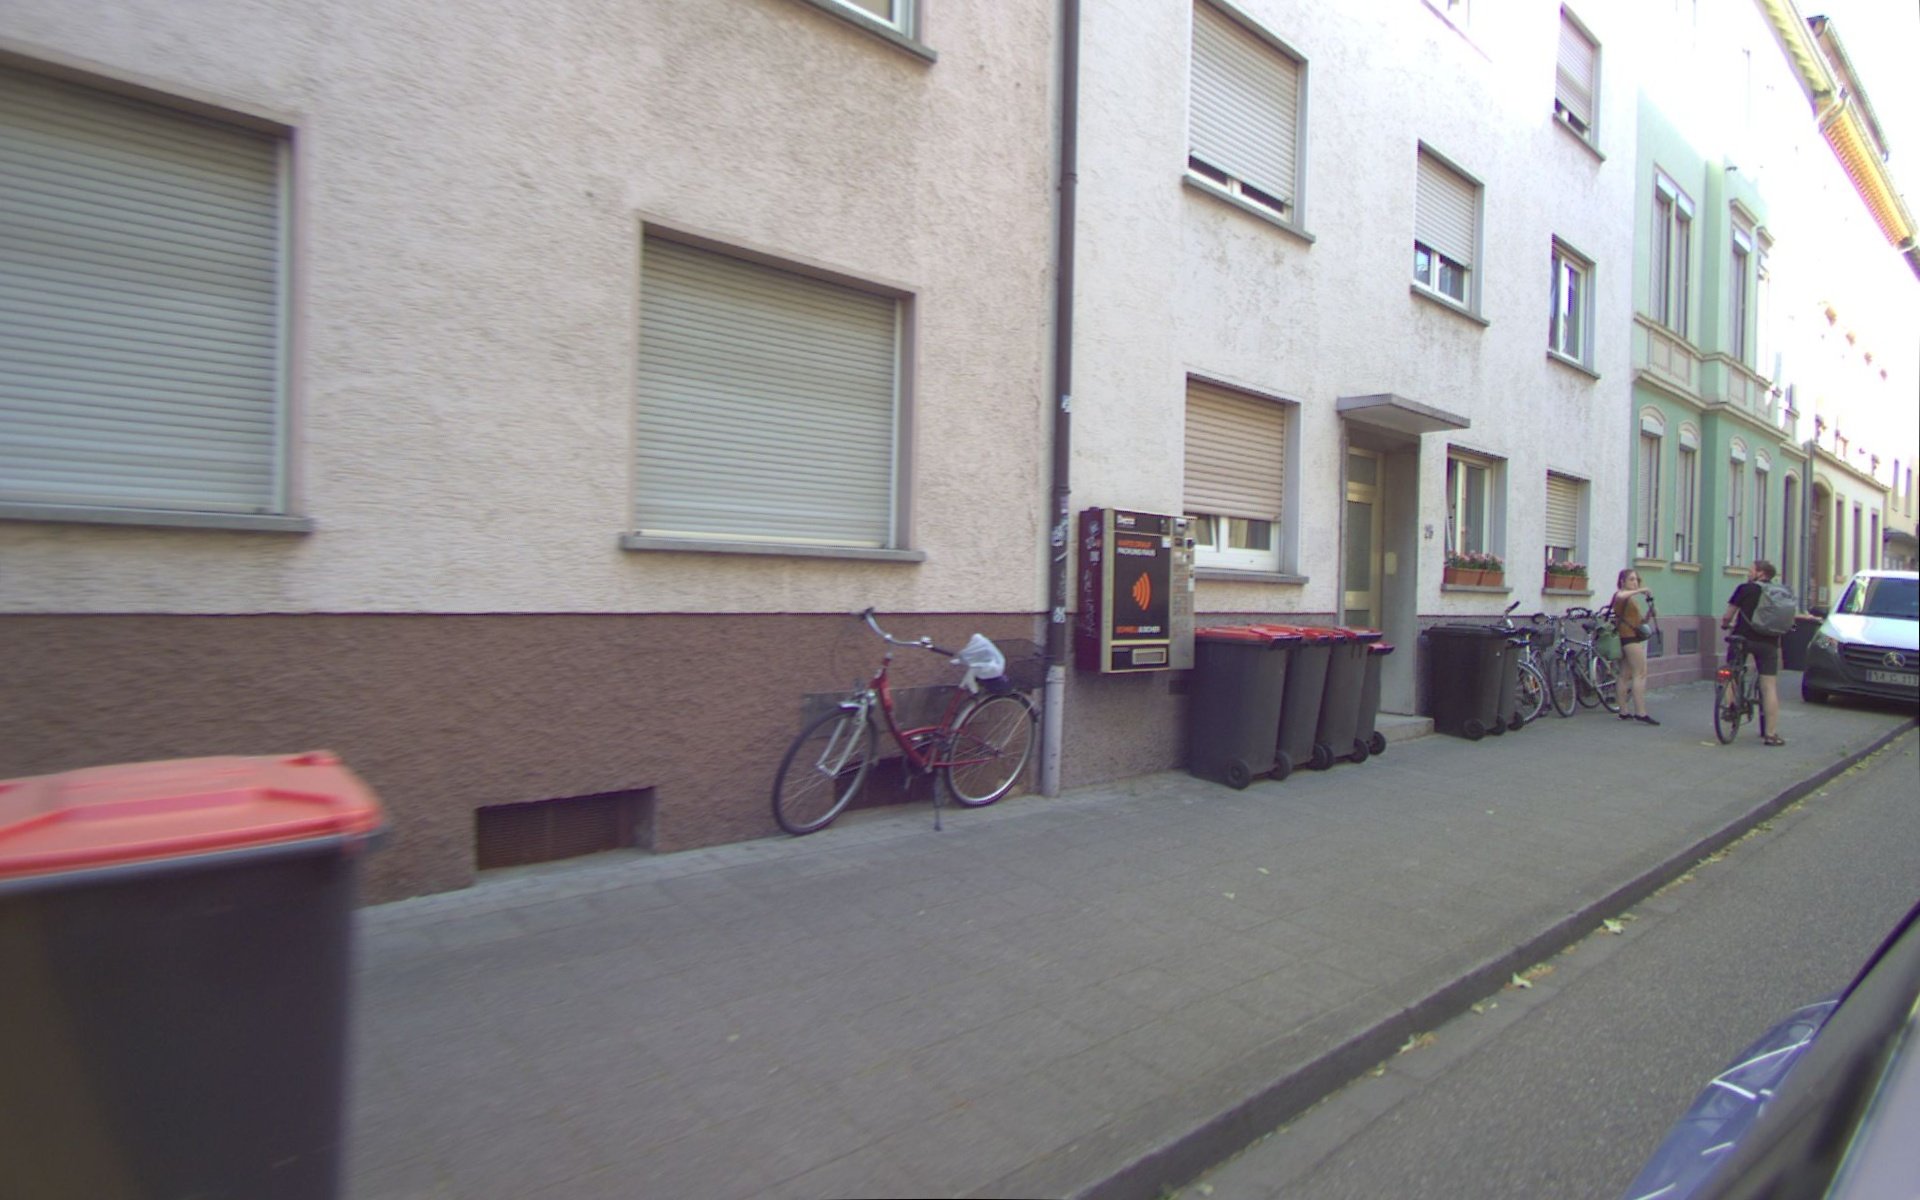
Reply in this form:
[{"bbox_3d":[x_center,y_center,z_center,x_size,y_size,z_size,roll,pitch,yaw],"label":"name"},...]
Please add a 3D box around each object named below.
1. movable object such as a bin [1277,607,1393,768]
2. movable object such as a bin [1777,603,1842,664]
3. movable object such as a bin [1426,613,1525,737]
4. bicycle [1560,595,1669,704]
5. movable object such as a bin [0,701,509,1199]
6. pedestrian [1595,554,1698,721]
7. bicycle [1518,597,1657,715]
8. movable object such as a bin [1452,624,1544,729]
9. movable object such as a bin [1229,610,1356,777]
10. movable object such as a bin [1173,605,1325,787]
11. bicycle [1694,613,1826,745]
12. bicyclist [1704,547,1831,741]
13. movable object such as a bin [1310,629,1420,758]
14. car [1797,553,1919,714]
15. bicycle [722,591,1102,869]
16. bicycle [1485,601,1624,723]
[{"bbox_3d":[2.875,0.641,7.769,0.559,1.136,0.629,0,2,-39],"label":"movable object such as a bin"},{"bbox_3d":[16.167,0.624,19.268,0.661,1.102,0.815,0,2,-38],"label":"movable object such as a bin"},{"bbox_3d":[4.882,0.685,9.593,0.592,1.075,0.617,0,3,-41],"label":"movable object such as a bin"},{"bbox_3d":[8.046,0.567,12.399,2.120,1.221,0.406,-1,2,-38],"label":"bicycle"},{"bbox_3d":[-1.193,0.774,1.627,0.691,1.094,0.734,-1,2,-39],"label":"movable object such as a bin"},{"bbox_3d":[7.426,0.376,10.959,0.672,1.732,0.658,0,1,-28],"label":"pedestrian"},{"bbox_3d":[7.130,0.588,11.448,2.222,1.221,0.439,-1,2,-34],"label":"bicycle"},{"bbox_3d":[5.318,0.733,10.004,0.597,0.935,0.578,0,4,-40],"label":"movable object such as a bin"},{"bbox_3d":[2.427,0.646,7.400,0.582,1.119,0.658,0,1,-39],"label":"movable object such as a bin"},{"bbox_3d":[1.994,0.625,7.006,0.628,1.110,0.741,0,4,-39],"label":"movable object such as a bin"},{"bbox_3d":[8.011,0.734,10.099,1.954,1.150,0.664,1,3,-43],"label":"bicycle"},{"bbox_3d":[7.971,0.404,9.994,0.808,1.792,0.761,2,3,-42],"label":"bicyclist"},{"bbox_3d":[3.281,0.729,8.209,0.594,0.946,0.607,0,1,-39],"label":"movable object such as a bin"},{"bbox_3d":[13.816,0.433,14.353,5.501,1.906,1.988,0,5,-41],"label":"car"},{"bbox_3d":[-0.171,0.575,5.318,2.040,1.184,0.538,0,5,-41],"label":"bicycle"},{"bbox_3d":[6.328,0.612,10.739,1.833,1.167,0.570,-1,2,-36],"label":"bicycle"}]
